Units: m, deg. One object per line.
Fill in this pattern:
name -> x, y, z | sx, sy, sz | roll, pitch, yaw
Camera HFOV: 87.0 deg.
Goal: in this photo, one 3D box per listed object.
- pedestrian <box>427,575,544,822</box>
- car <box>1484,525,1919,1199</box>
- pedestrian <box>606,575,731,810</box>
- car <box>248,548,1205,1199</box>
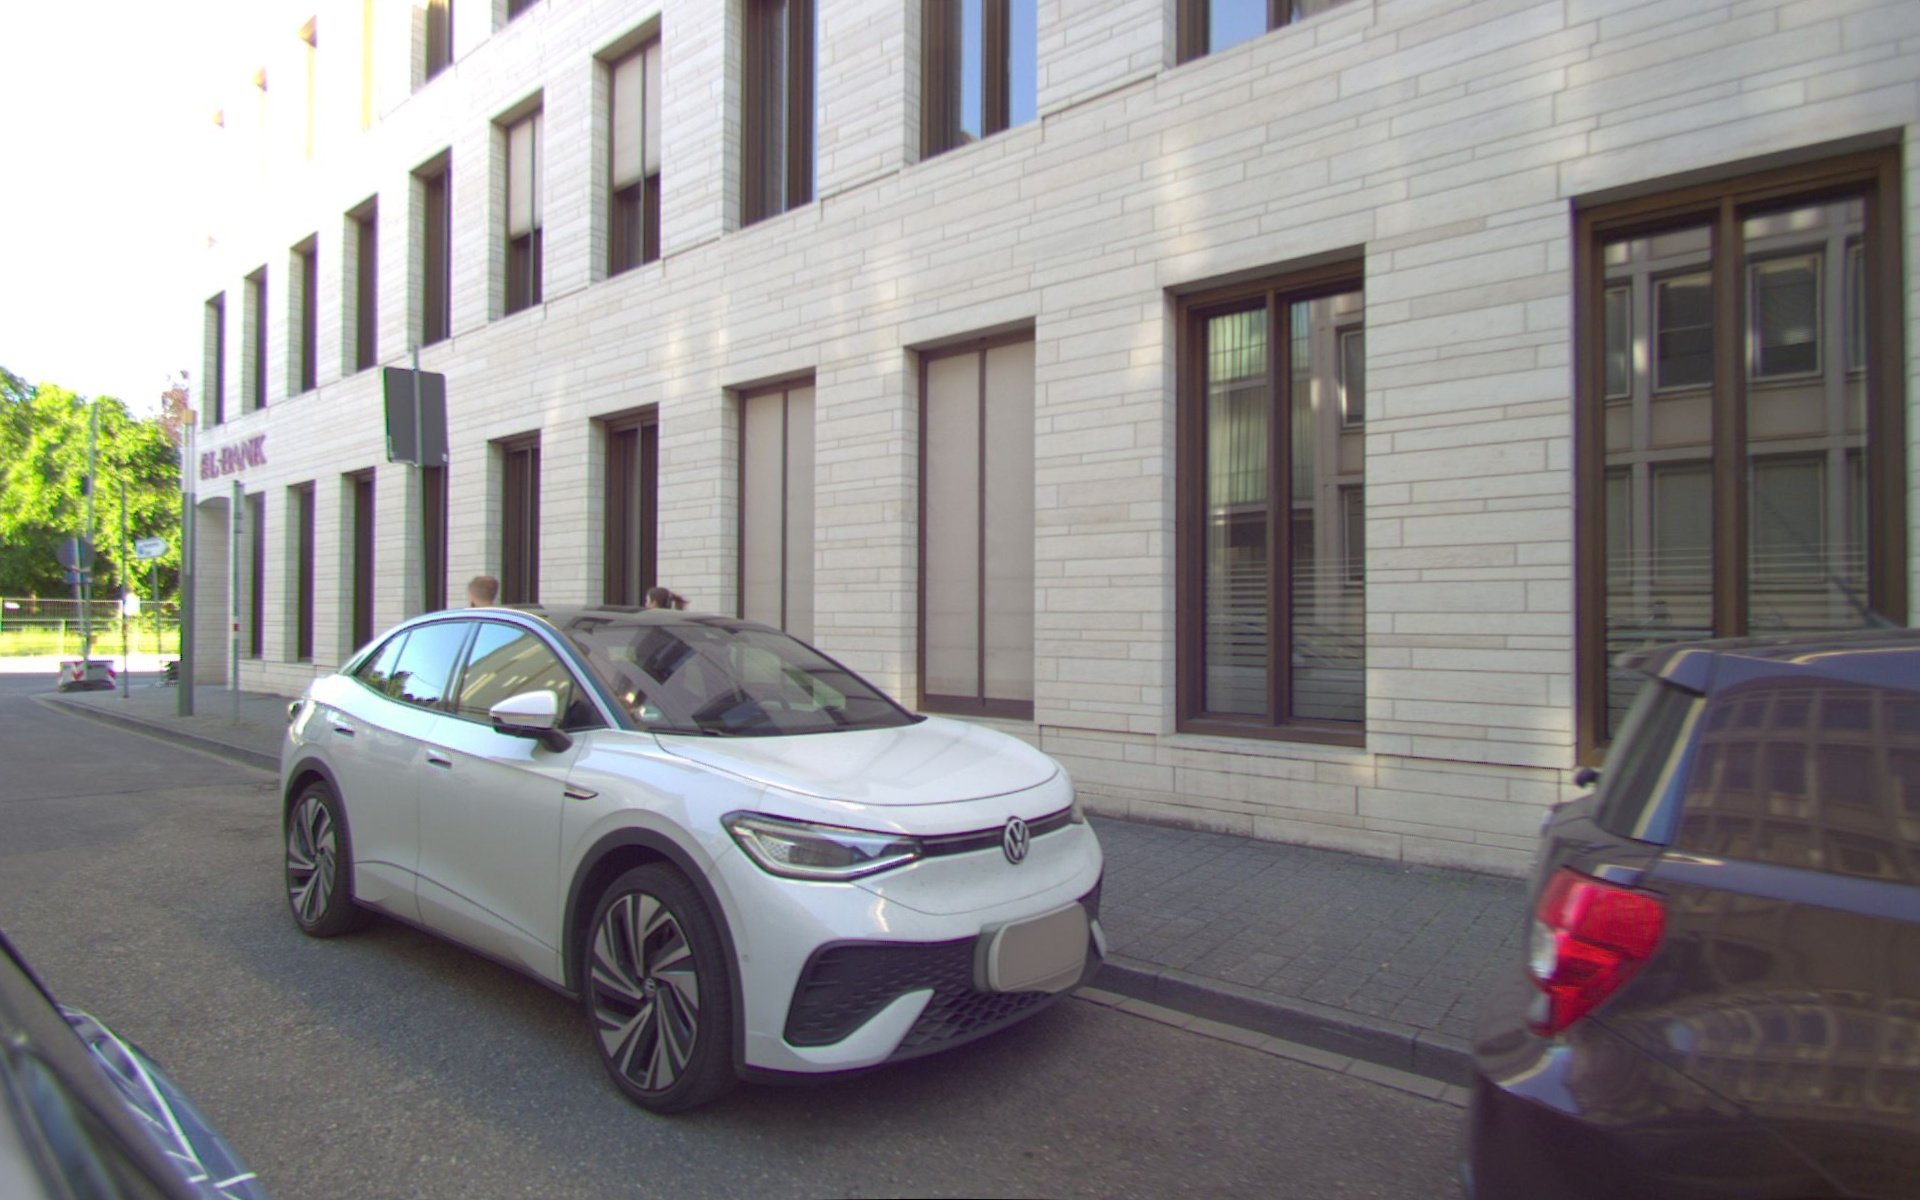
pedestrian -> -3.662, 0.720, 7.818 | 0.575, 1.803, 0.635 | 0, 0, 39
car -> 3.073, 0.657, 1.021 | 4.258, 1.553, 1.805 | -2, -2, 38
pedestrian -> -2.396, 0.712, 8.306 | 0.816, 1.803, 0.637 | 0, 0, 39
car -> -1.378, 0.685, 4.507 | 4.442, 1.553, 1.804 | -2, 0, 39
